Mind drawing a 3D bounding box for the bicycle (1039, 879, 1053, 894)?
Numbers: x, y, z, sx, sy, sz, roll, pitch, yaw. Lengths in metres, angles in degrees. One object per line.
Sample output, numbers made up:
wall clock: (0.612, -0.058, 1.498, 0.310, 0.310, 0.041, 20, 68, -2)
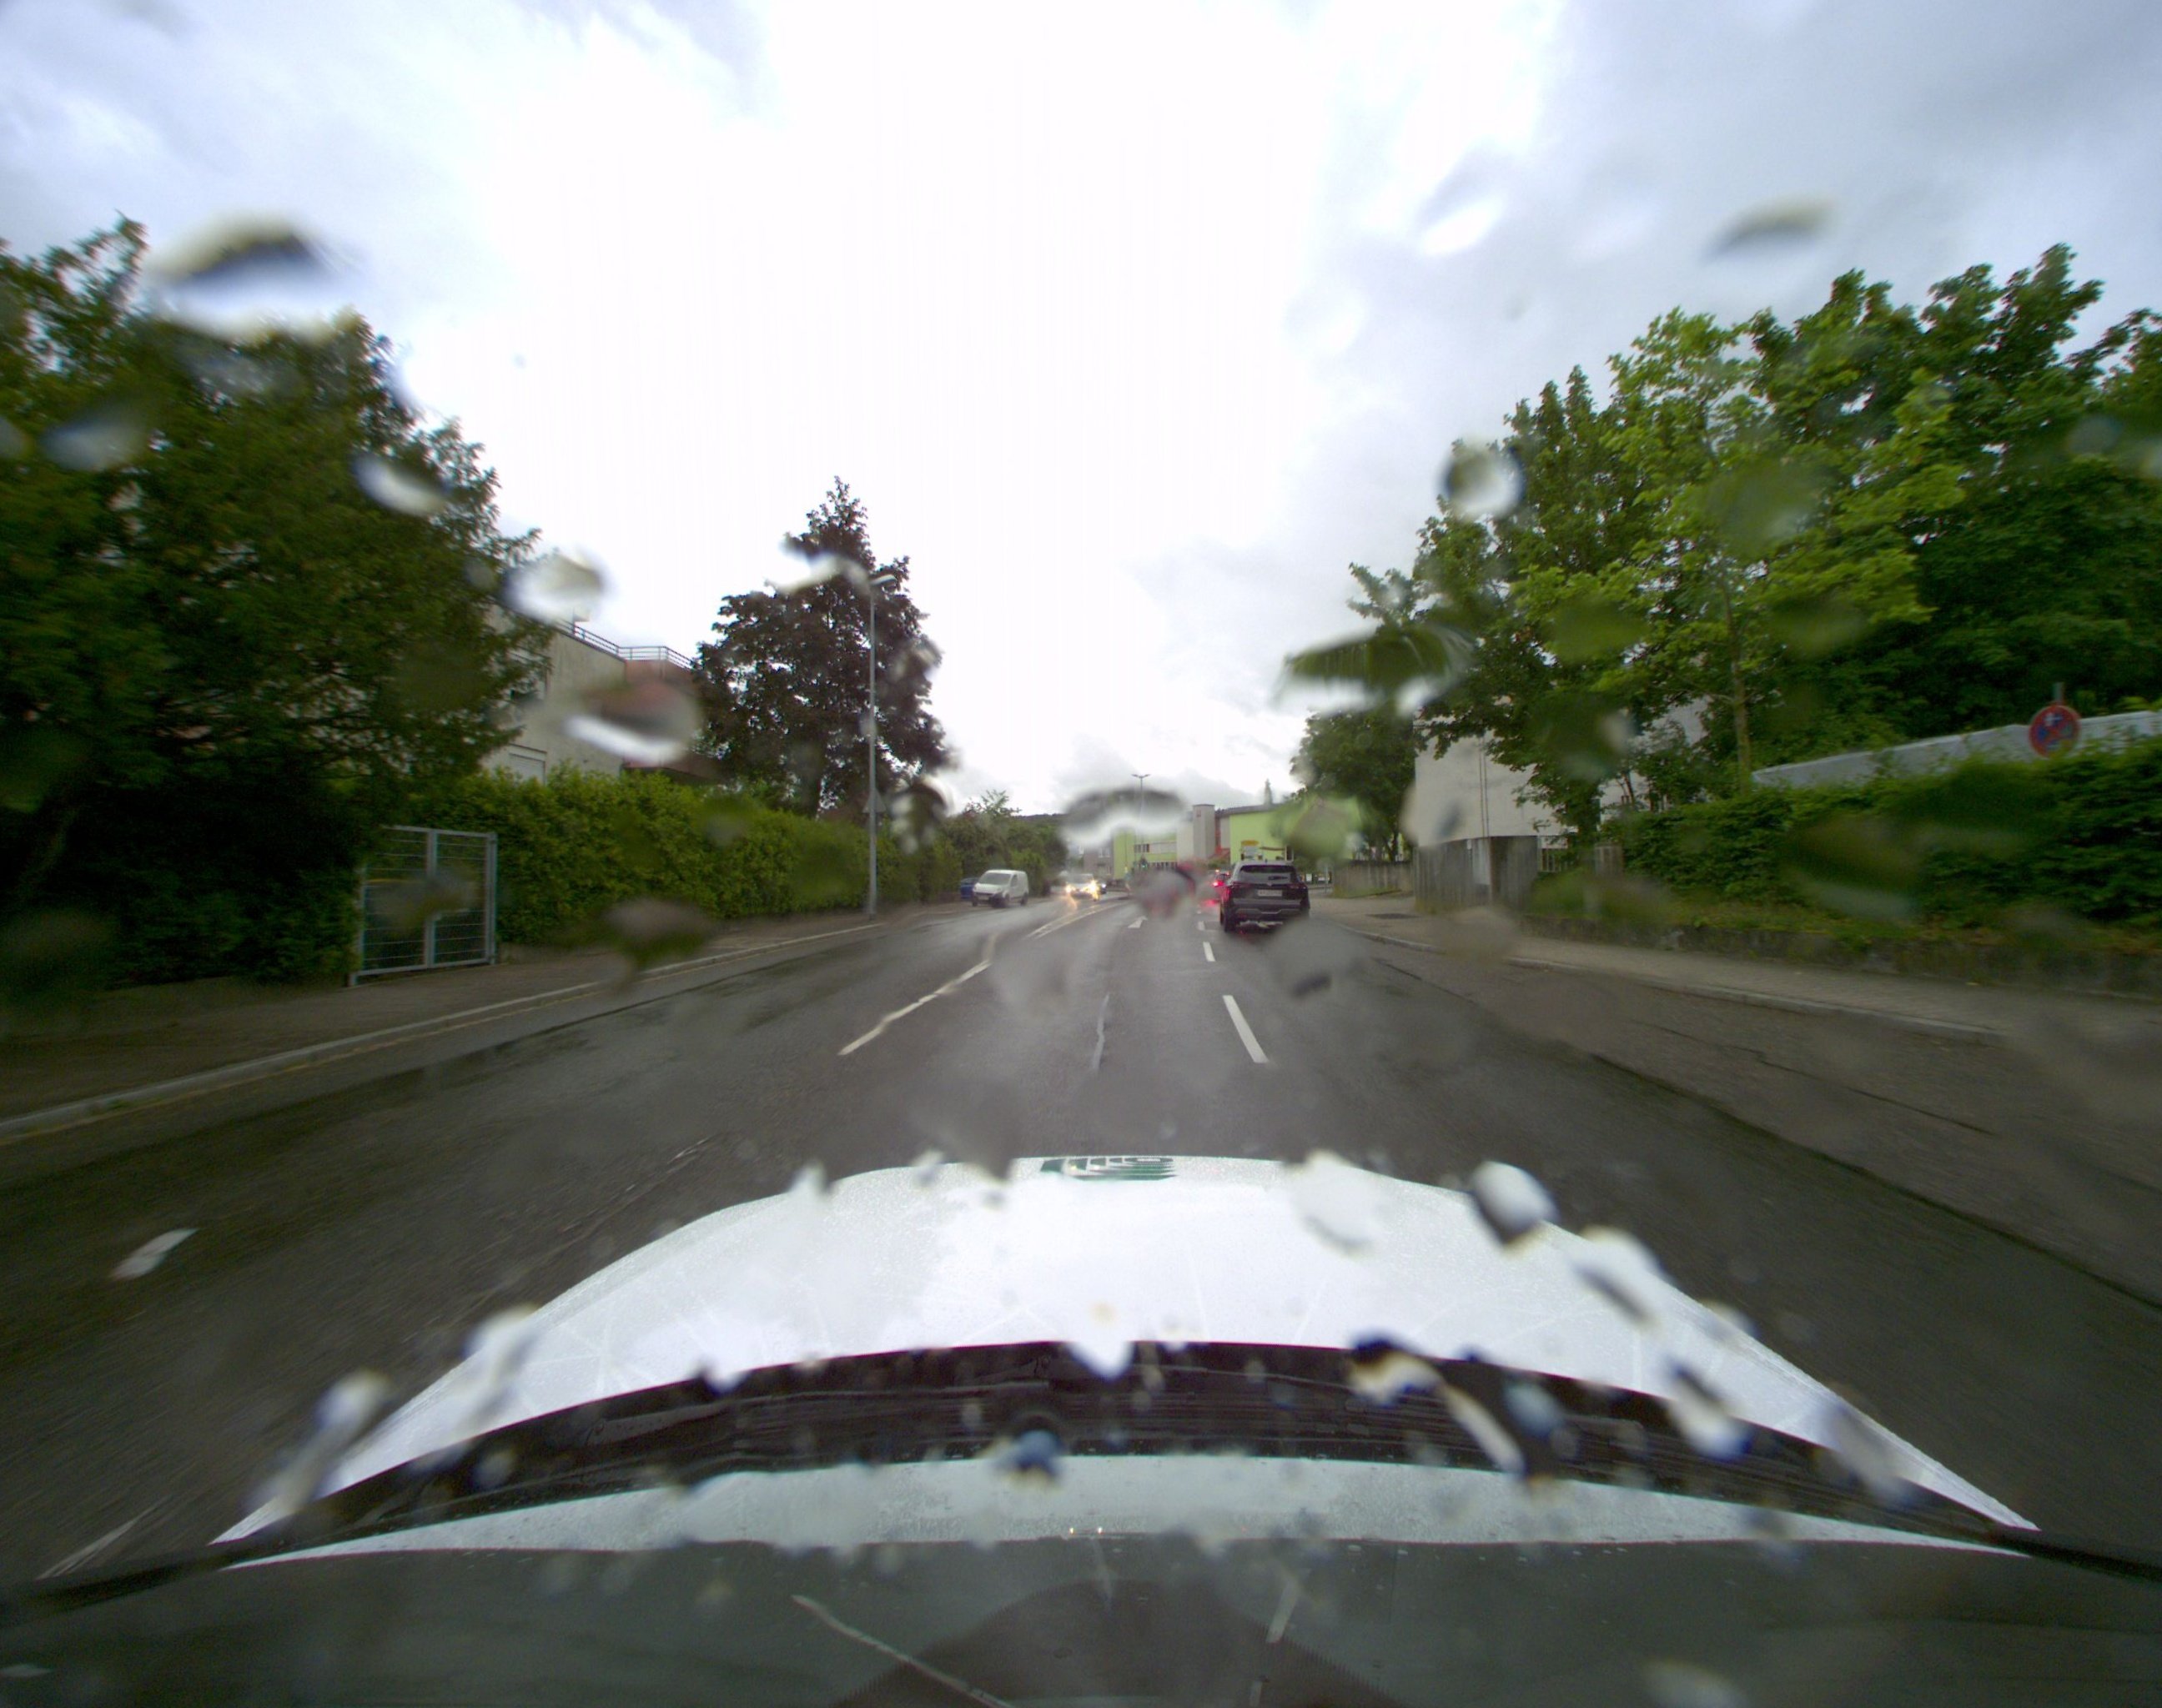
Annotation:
bicycle: (-2.659, 2.451, 61.775, 0.743, 1.086, 1.992, 0, -3, 6)

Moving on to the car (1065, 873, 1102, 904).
car: (0.181, 1.935, 46.943, 1.627, 1.580, 4.063, -4, -2, 5)

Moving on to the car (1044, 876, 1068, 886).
car: (-4.905, 5.324, 160.873, 4.395, 1.772, 1.993, -3, -3, -10)

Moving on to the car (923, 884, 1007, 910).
car: (-6.562, 2.429, 46.333, 4.466, 1.362, 1.805, 1, -1, 1)

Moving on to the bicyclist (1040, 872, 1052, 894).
bicyclist: (-2.672, 2.209, 61.815, 0.760, 1.612, 0.869, -1, -2, 6)

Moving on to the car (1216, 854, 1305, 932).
car: (4.099, 0.866, 19.169, 1.779, 1.604, 4.263, 0, -1, 9)

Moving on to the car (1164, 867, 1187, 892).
car: (7.276, 1.965, 62.990, 1.708, 1.844, 4.093, 0, -1, 6)

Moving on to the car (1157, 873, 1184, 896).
car: (6.043, 2.007, 54.777, 1.673, 1.506, 3.780, 0, -1, 7)

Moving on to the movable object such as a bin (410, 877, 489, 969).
movable object such as a bin: (-9.589, 1.030, 12.396, 0.545, 1.326, 0.806, 0, 0, 3)

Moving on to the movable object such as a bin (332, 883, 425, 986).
movable object such as a bin: (-9.548, 1.072, 11.102, 0.545, 1.326, 0.806, 0, 0, 3)

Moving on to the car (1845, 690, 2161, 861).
car: (15.274, -1.094, 12.495, 2.043, 2.283, 5.006, 0, 2, -7)

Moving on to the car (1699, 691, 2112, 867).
car: (12.136, -1.028, 12.489, 1.990, 2.226, 4.128, 0, 2, -5)

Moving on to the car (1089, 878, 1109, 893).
car: (2.188, 3.740, 97.230, 2.032, 1.716, 4.485, -3, -2, 4)

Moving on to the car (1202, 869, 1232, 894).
car: (8.358, 1.707, 50.207, 1.696, 1.427, 4.520, -2, -2, 9)

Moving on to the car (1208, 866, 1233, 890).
car: (10.922, 1.857, 63.996, 1.773, 1.734, 4.095, 0, -1, 7)

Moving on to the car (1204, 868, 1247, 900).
car: (7.247, 1.520, 41.340, 1.895, 1.459, 4.787, -2, -2, 7)

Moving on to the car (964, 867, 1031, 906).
car: (-3.871, 1.517, 38.527, 1.687, 1.708, 3.995, 1, -1, 17)
